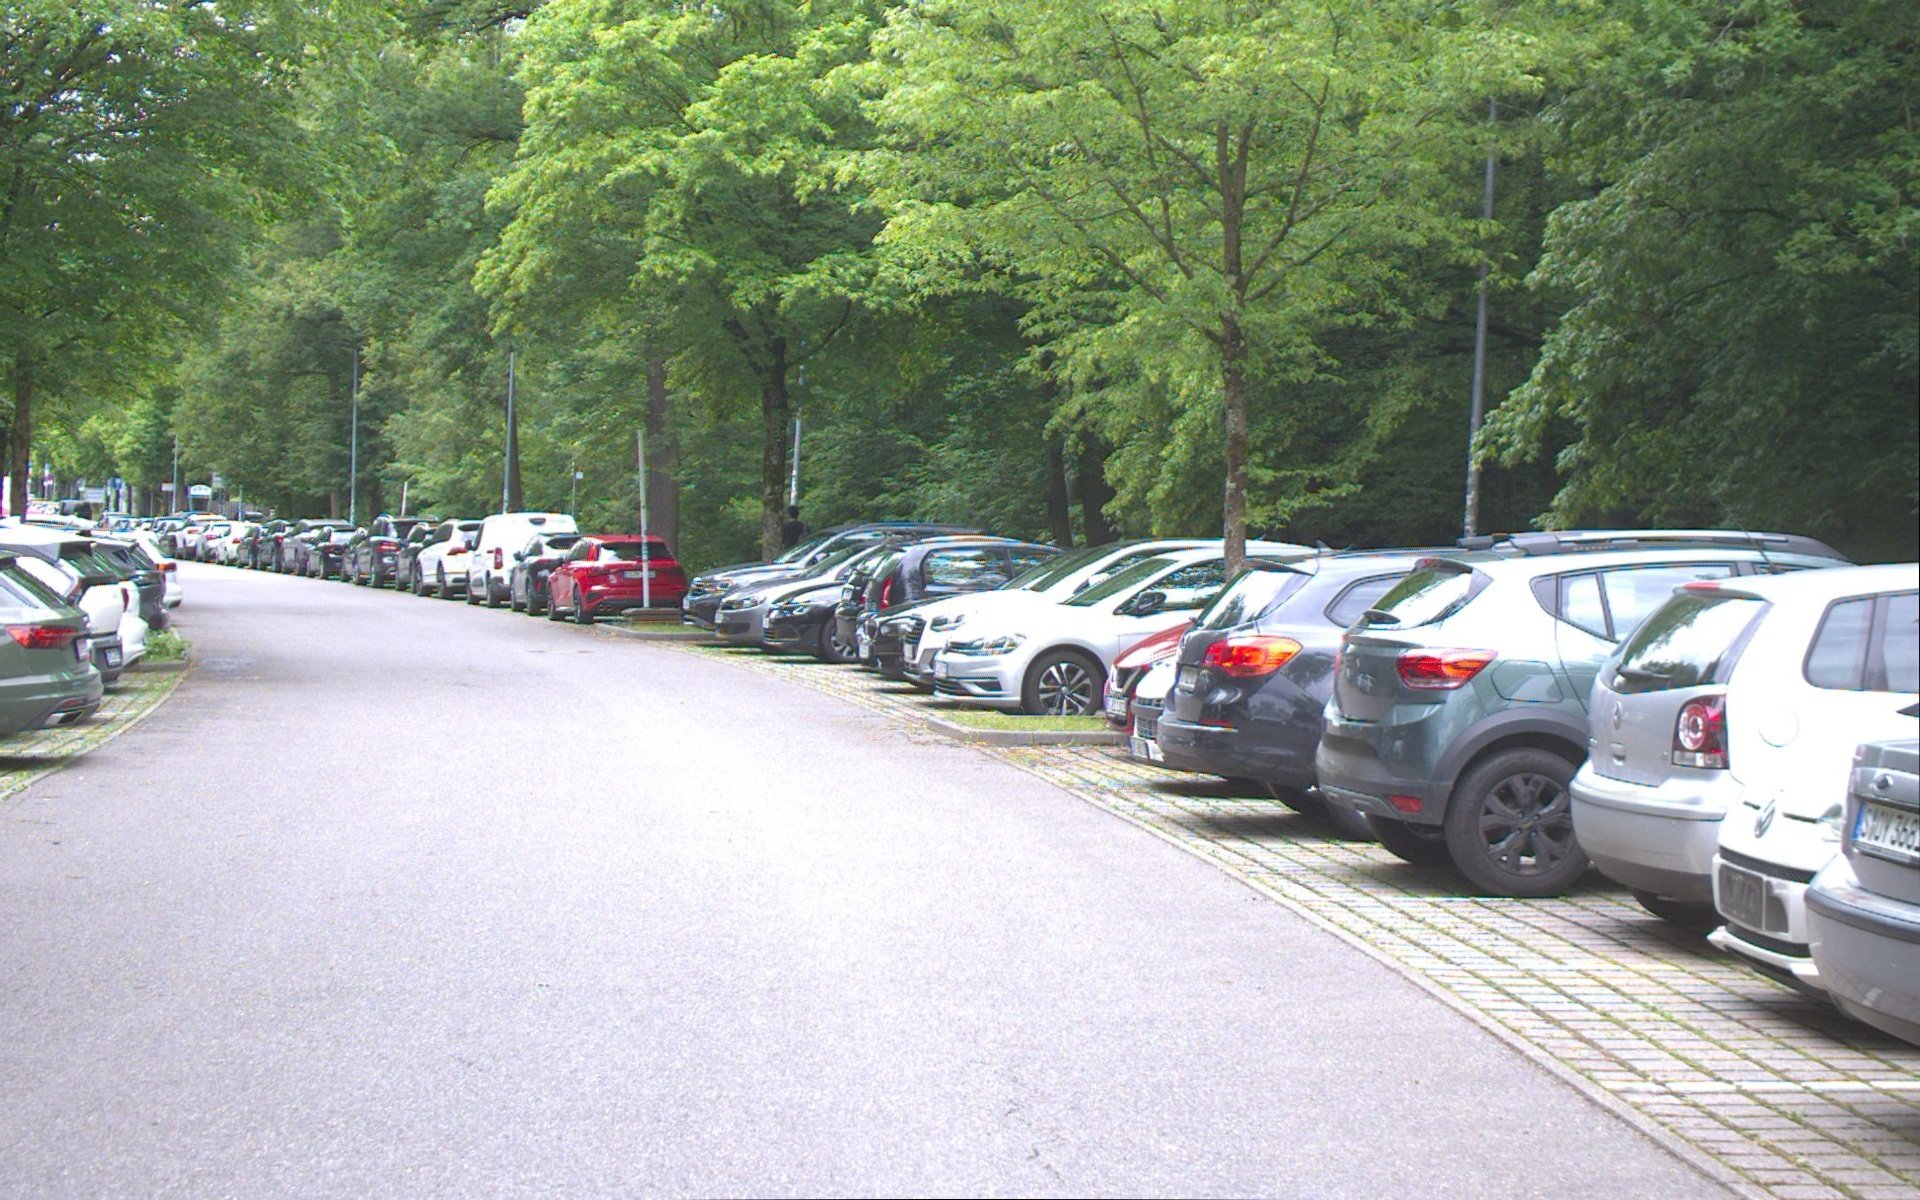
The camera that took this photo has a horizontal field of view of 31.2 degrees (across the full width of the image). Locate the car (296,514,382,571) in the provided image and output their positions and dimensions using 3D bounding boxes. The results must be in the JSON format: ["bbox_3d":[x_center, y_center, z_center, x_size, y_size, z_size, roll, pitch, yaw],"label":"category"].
[{"bbox_3d":[-16.929,-1.588,93.529,1.636,1.472,4.153,1,1,-19],"label":"car"}]

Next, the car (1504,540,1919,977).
[{"bbox_3d":[4.234,0.579,13.309,3.842,1.540,1.731,1,1,-7],"label":"car"}]

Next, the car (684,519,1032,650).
[{"bbox_3d":[-1.311,-0.203,43.652,3.986,1.546,1.976,1,1,-18],"label":"car"}]

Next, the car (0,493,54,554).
[{"bbox_3d":[-29.432,-2.317,103.481,3.986,1.810,2.116,0,1,-20],"label":"car"}]

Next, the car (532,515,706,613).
[{"bbox_3d":[-5.589,-0.619,55.818,1.993,1.474,4.973,1,1,-15],"label":"car"}]

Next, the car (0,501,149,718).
[{"bbox_3d":[-8.513,0.032,26.738,3.960,1.622,1.998,0,1,-1],"label":"car"}]

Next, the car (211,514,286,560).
[{"bbox_3d":[-23.989,-2.121,115.837,1.936,1.470,3.993,1,1,-19],"label":"car"}]

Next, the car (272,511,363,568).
[{"bbox_3d":[-18.557,-1.756,99.153,1.977,1.532,4.623,1,1,-18],"label":"car"}]

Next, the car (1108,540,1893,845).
[{"bbox_3d":[2.847,0.474,18.520,3.767,1.476,1.774,1,2,-10],"label":"car"}]

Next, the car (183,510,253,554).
[{"bbox_3d":[-26.232,-2.425,121.506,1.721,1.489,3.775,1,1,-23],"label":"car"}]

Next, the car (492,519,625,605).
[{"bbox_3d":[-7.190,-0.700,61.225,1.725,1.418,4.285,1,1,-15],"label":"car"}]

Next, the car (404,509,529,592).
[{"bbox_3d":[-10.414,-1.067,72.299,1.785,1.657,4.719,1,1,-18],"label":"car"}]

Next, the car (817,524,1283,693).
[{"bbox_3d":[0.849,0.068,33.632,4.186,1.506,1.894,1,2,-12],"label":"car"}]

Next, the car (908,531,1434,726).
[{"bbox_3d":[1.718,0.221,28.636,3.975,1.478,1.885,1,2,-12],"label":"car"}]

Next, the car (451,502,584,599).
[{"bbox_3d":[-8.572,-0.983,66.365,1.744,1.774,4.554,1,1,-17],"label":"car"}]

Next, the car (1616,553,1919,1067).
[{"bbox_3d":[4.191,0.638,11.122,3.701,1.505,1.751,1,1,-4],"label":"car"}]

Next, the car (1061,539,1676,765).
[{"bbox_3d":[2.815,0.351,23.988,3.793,1.436,1.871,1,2,-16],"label":"car"}]

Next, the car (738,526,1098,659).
[{"bbox_3d":[-0.532,-0.103,41.118,3.986,1.470,1.953,1,1,-11],"label":"car"}]

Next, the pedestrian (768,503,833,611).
[{"bbox_3d":[-2.590,-0.697,55.773,0.817,1.720,1.004,1,1,-15],"label":"pedestrian"}]

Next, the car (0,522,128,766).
[{"bbox_3d":[-7.733,0.237,21.692,4.638,1.473,2.095,0,1,-8],"label":"car"}]

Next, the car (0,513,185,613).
[{"bbox_3d":[-13.935,-0.567,51.023,4.561,1.442,2.086,0,1,-19],"label":"car"}]

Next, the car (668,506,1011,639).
[{"bbox_3d":[-1.635,-0.378,46.060,4.264,1.660,1.959,1,1,-13],"label":"car"}]

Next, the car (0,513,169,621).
[{"bbox_3d":[-13.436,-0.470,48.357,4.364,1.481,1.892,0,1,-17],"label":"car"}]

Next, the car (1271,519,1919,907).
[{"bbox_3d":[3.478,0.479,15.665,3.767,1.584,1.950,1,2,-5],"label":"car"}]

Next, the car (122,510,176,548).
[{"bbox_3d":[-34.307,-3.004,145.372,1.920,1.515,3.888,1,1,-17],"label":"car"}]

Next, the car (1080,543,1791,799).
[{"bbox_3d":[2.858,0.414,21.169,3.931,1.406,1.879,1,2,-8],"label":"car"}]

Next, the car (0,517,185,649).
[{"bbox_3d":[-10.979,-0.217,38.532,4.403,1.419,2.036,1,1,-11],"label":"car"}]

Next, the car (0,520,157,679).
[{"bbox_3d":[-9.336,-0.024,31.549,3.725,1.414,1.872,0,1,-10],"label":"car"}]

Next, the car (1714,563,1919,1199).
[{"bbox_3d":[4.217,0.669,8.737,4.126,1.456,1.865,1,1,-3],"label":"car"}]

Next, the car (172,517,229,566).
[{"bbox_3d":[-28.011,-2.171,126.722,1.710,1.722,4.001,1,1,-18],"label":"car"}]

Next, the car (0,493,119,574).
[{"bbox_3d":[-19.908,-1.430,72.282,4.223,1.627,2.030,1,1,-16],"label":"car"}]

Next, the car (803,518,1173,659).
[{"bbox_3d":[0.284,-0.144,38.501,3.826,1.526,1.851,0,1,-12],"label":"car"}]

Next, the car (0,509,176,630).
[{"bbox_3d":[-12.124,-0.414,43.420,4.264,1.481,2.058,1,1,-11],"label":"car"}]

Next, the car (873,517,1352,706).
[{"bbox_3d":[1.331,0.089,31.143,4.007,1.553,1.978,1,2,-8],"label":"car"}]

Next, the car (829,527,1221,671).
[{"bbox_3d":[0.655,-0.019,36.293,3.826,1.452,1.809,0,1,-11],"label":"car"}]

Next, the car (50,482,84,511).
[{"bbox_3d":[-51.354,-5.946,197.638,1.628,1.410,3.412,2,4,-19],"label":"car"}]

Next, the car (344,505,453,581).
[{"bbox_3d":[-13.651,-1.405,83.423,1.889,1.741,4.950,1,1,-17],"label":"car"}]

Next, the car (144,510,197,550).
[{"bbox_3d":[-31.836,-2.831,138.579,1.710,1.504,4.001,1,1,-18],"label":"car"}]
